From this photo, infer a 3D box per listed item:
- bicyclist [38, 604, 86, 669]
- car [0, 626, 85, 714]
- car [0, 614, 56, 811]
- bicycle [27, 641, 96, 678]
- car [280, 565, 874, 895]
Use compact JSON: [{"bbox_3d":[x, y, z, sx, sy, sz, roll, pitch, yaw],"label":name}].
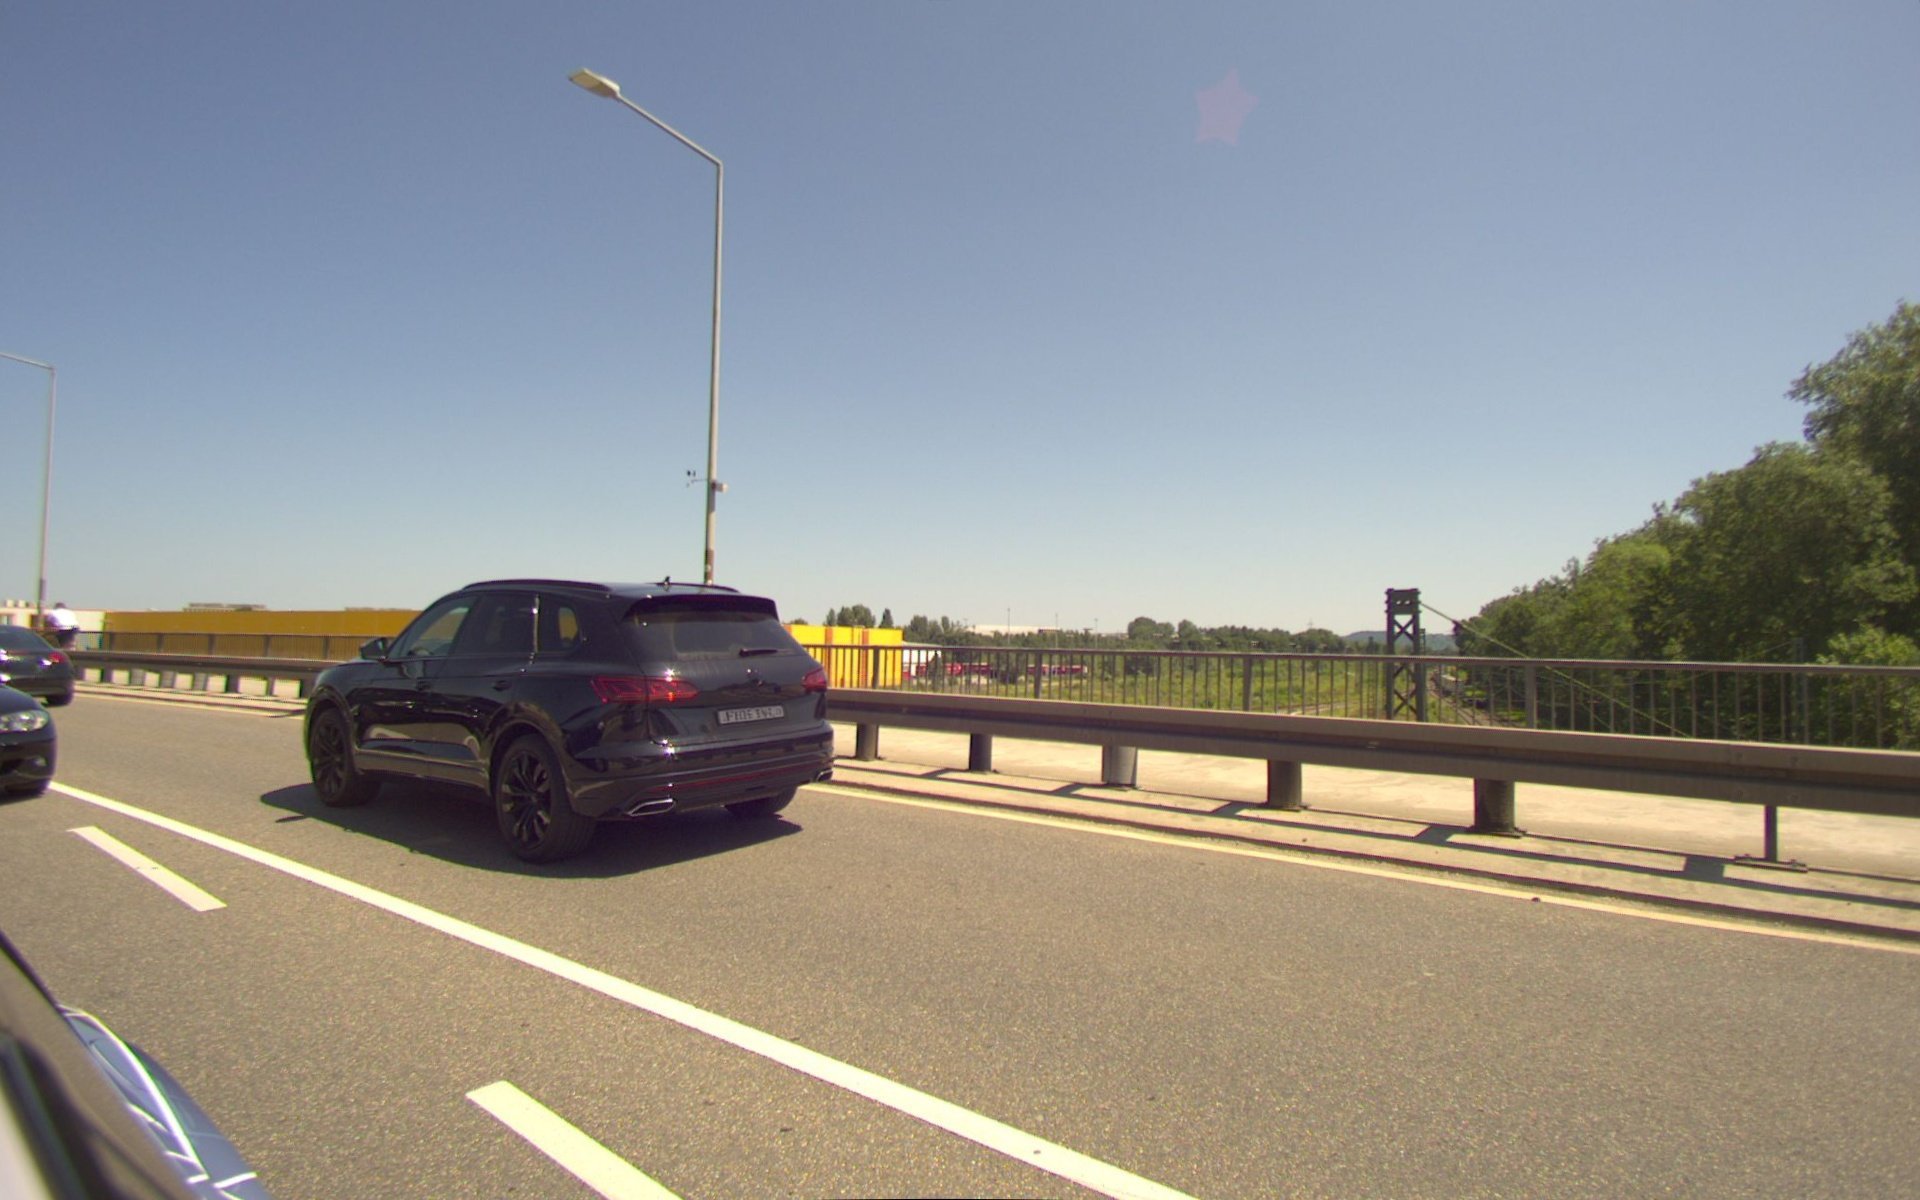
[{"bbox_3d":[-21.866,0.879,24.635,0.891,1.533,0.580,-1,-1,27],"label":"bicyclist"},{"bbox_3d":[-16.194,1.091,16.480,3.955,1.318,1.667,-1,-1,29],"label":"car"},{"bbox_3d":[-9.304,0.857,8.362,4.513,1.466,1.774,-1,-1,35],"label":"car"},{"bbox_3d":[-21.898,1.441,24.646,1.981,0.840,0.584,-1,-1,27],"label":"bicycle"},{"bbox_3d":[-2.974,0.709,7.375,4.607,1.686,1.947,-1,-2,38],"label":"car"}]
